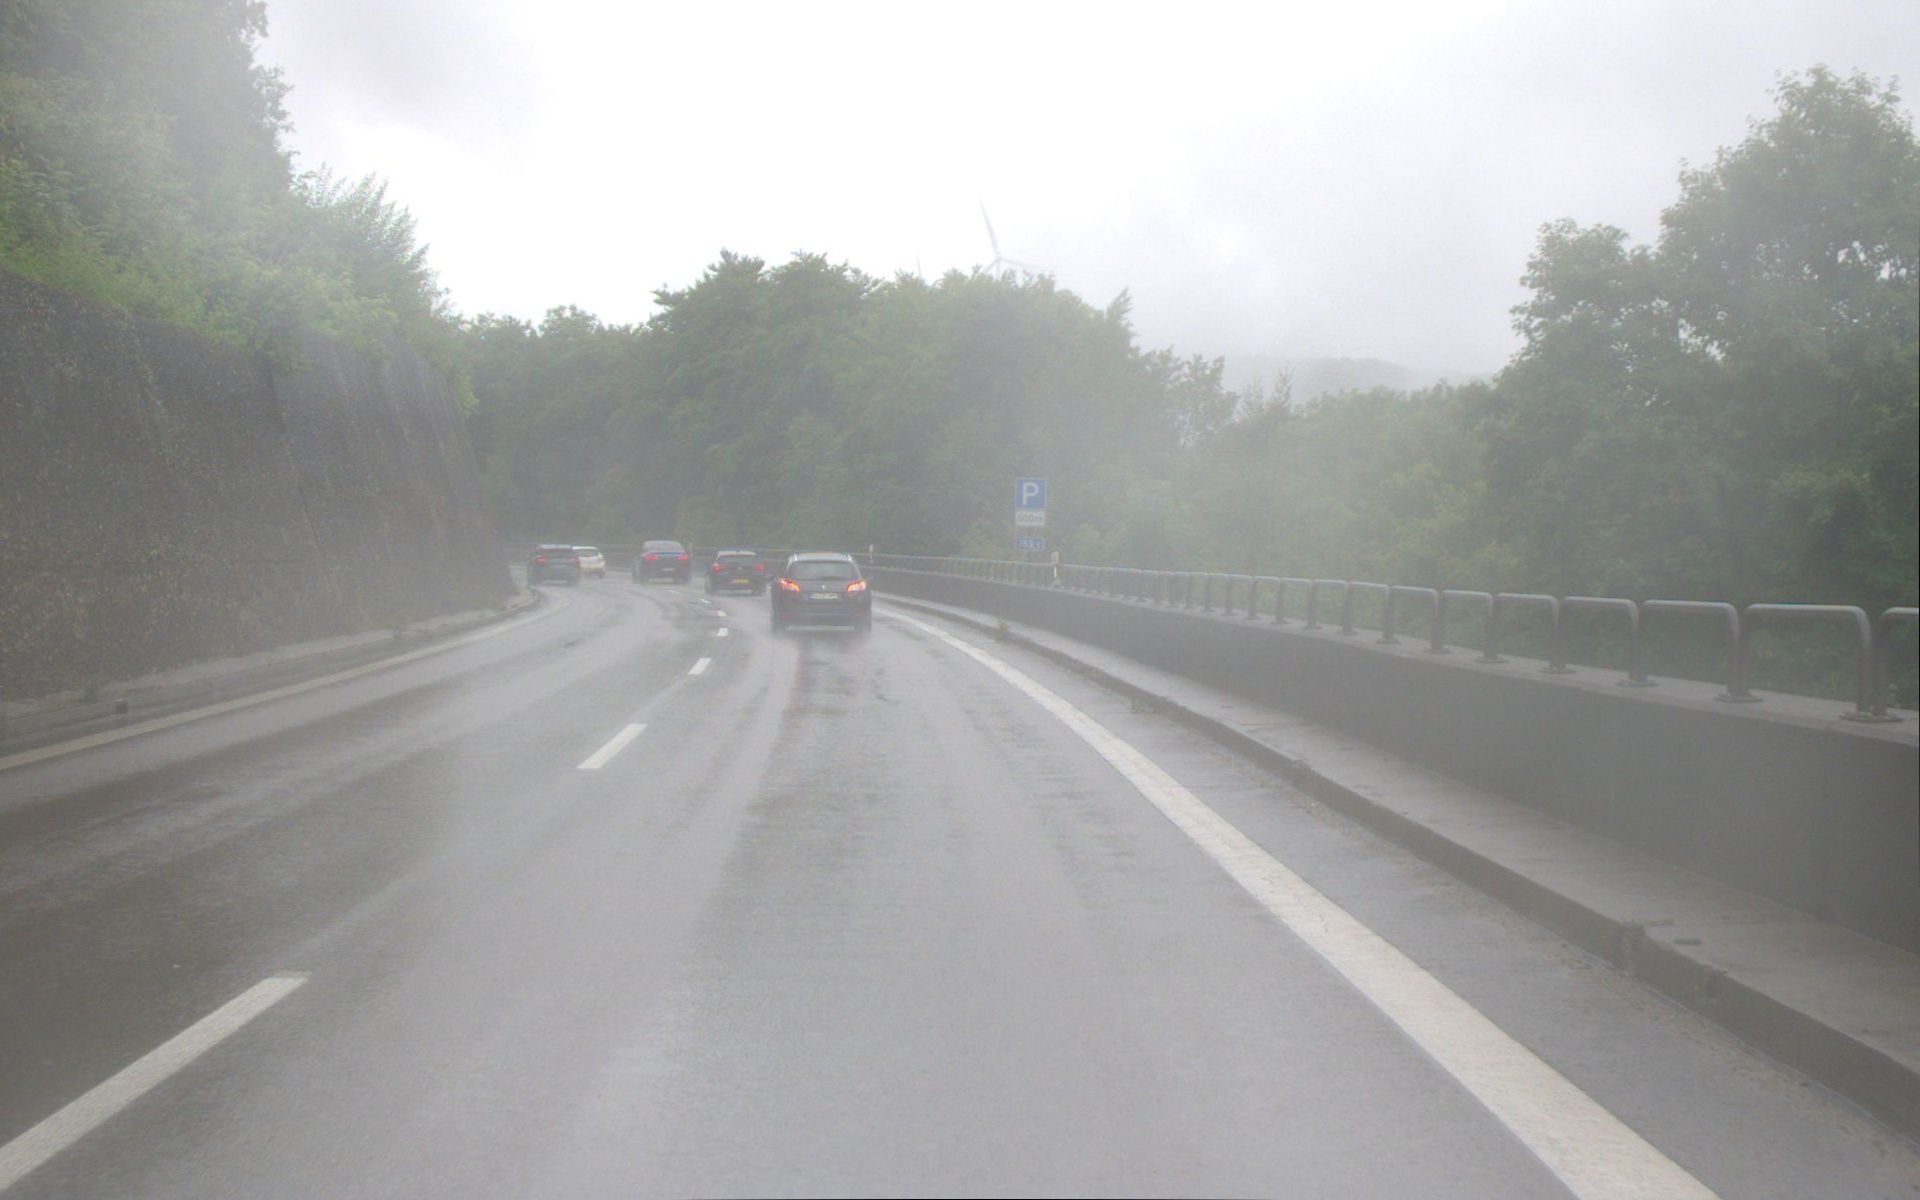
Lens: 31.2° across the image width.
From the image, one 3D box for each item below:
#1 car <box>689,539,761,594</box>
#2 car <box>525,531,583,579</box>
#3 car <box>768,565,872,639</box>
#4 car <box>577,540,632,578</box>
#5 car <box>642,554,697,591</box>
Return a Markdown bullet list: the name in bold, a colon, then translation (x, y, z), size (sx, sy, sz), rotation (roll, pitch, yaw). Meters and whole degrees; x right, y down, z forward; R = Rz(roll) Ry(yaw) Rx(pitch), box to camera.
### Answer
- **car**: translation (-7.662, -1.084, 111.727), size (1.993, 1.744, 4.001), rotation (0, 0, -9)
- **car**: translation (-16.223, -1.784, 137.342), size (1.993, 1.897, 4.001), rotation (0, 0, -11)
- **car**: translation (-2.540, 0.017, 63.093), size (1.800, 1.303, 4.000), rotation (0, 1, -1)
- **car**: translation (-15.913, -1.853, 153.608), size (1.993, 1.657, 4.001), rotation (-1, 1, -12)
- **car**: translation (-11.654, -1.129, 137.860), size (1.800, 1.462, 4.001), rotation (0, 1, -11)
